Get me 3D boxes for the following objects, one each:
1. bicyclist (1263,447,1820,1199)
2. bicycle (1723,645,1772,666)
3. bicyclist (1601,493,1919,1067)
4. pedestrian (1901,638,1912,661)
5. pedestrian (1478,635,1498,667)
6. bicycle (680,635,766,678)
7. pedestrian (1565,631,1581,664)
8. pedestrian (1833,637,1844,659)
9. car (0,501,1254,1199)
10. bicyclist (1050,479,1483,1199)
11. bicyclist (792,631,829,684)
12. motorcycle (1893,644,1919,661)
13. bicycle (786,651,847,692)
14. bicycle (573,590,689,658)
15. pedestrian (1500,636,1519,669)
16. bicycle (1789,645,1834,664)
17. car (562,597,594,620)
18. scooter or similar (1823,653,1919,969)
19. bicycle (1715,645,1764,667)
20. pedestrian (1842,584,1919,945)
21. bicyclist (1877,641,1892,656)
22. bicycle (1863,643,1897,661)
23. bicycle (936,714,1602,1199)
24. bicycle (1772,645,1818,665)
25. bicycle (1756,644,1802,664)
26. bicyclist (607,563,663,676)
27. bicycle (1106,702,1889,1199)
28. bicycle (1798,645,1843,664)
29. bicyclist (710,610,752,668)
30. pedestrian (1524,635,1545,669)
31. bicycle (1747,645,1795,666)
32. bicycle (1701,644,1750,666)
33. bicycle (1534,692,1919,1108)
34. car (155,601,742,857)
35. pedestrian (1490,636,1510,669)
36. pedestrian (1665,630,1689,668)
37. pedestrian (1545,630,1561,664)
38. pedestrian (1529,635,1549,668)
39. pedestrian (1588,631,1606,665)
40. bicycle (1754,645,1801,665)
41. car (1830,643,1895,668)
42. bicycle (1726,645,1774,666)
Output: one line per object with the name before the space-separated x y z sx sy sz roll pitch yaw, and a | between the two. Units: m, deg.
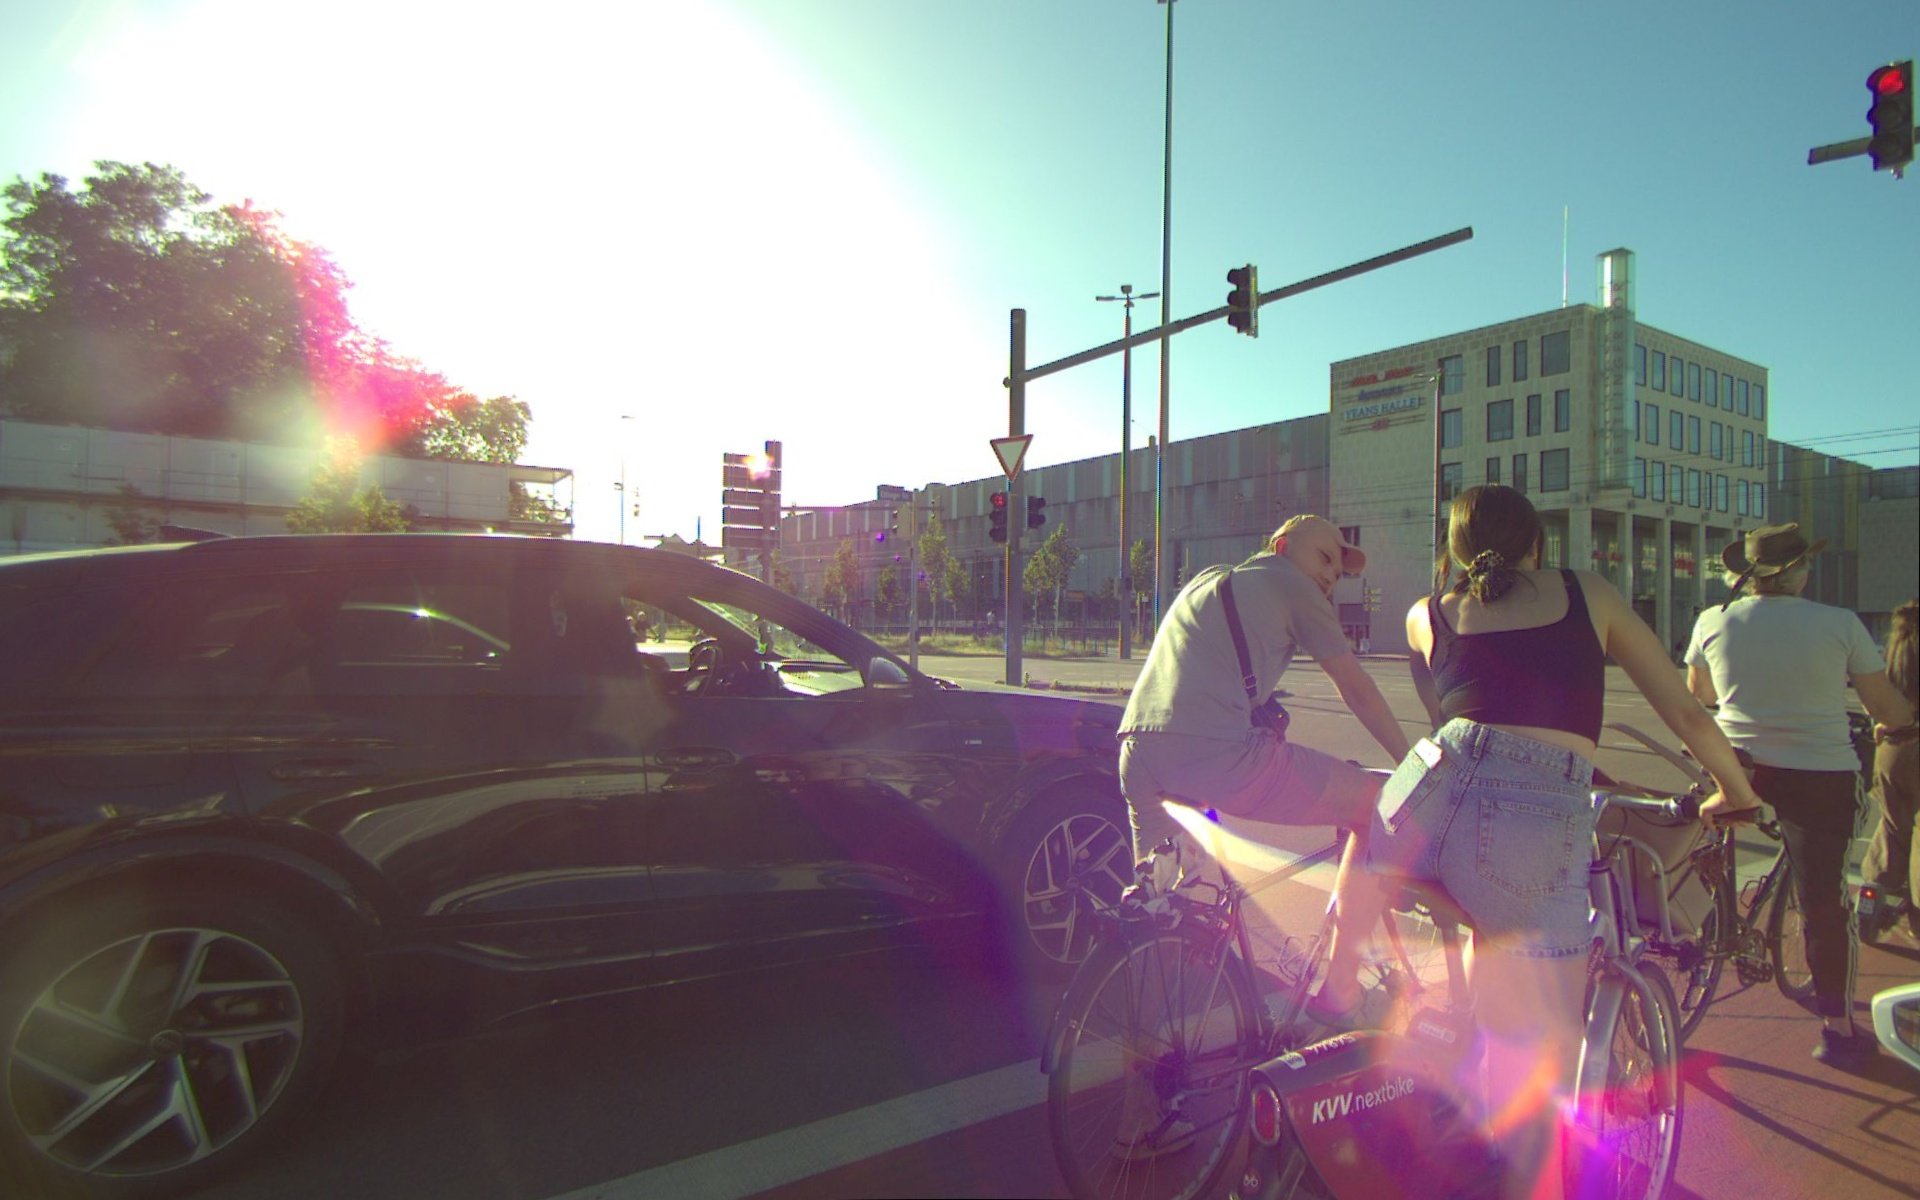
bicyclist | 1.178 0.569 2.056 0.866 1.600 0.638 1 0 -33
bicycle | 48.047 3.374 61.338 0.605 1.238 2.295 1 -1 -31
bicyclist | 2.866 0.556 3.556 0.856 1.743 0.657 2 0 -30
pedestrian | 71.098 3.682 75.454 0.579 1.702 0.516 1 1 -43
pedestrian | 32.326 3.118 61.519 0.710 1.910 0.779 2 0 -36
bicycle | -8.617 2.027 36.456 2.905 1.388 0.970 2 0 16
pedestrian | 35.630 2.738 58.425 0.784 1.868 0.862 0 -1 32
pedestrian | 70.488 3.850 80.564 0.602 1.702 0.549 1 0 -40
car | -1.157 0.632 3.874 4.630 1.656 1.760 1 0 -32
bicyclist | 0.800 0.559 2.677 0.833 1.627 0.712 1 0 -32
bicyclist | -5.943 2.259 39.844 0.985 2.040 1.088 2 0 -40
motorcycle | 70.740 3.918 74.854 0.508 1.223 1.786 1 0 -44
bicycle | -5.679 2.794 39.514 0.962 1.388 2.930 2 0 -40
bicycle | -9.322 0.653 28.550 3.047 1.835 0.835 0 1 -32
pedestrian | 33.224 3.174 60.691 0.780 1.910 0.709 2 0 -37
bicycle | 58.853 3.744 69.428 0.605 1.238 2.295 1 -1 -31
car | -32.935 0.733 86.518 1.785 1.908 3.964 2 0 -33
scooter or similar | 4.489 0.926 4.717 1.186 1.311 0.541 2 0 -45
bicycle | 46.964 3.337 60.528 0.605 1.238 2.295 1 -1 -31
pedestrian | 4.630 0.762 4.810 0.568 1.654 0.543 2 0 -45
bicyclist | 67.390 3.539 73.240 0.612 1.099 0.512 1 0 9
bicycle | 67.130 3.765 73.294 1.774 1.223 0.512 1 0 10
bicycle | 0.937 0.953 2.774 1.949 1.124 0.643 1 0 -33
bicycle | 55.520 3.629 66.829 0.605 1.238 2.295 1 -1 -31
bicycle | 54.281 3.590 66.566 0.605 1.238 2.295 1 -1 -31
bicyclist | -9.253 0.545 28.585 1.292 3.144 0.835 2 0 -32
bicycle | 1.192 0.891 2.069 1.811 1.234 0.612 1 0 -33
bicycle | 59.824 3.776 69.852 0.605 1.238 2.295 1 -1 -31
bicyclist | -8.272 1.401 36.292 1.078 2.040 0.961 2 0 16
pedestrian | 33.397 3.015 58.378 0.710 1.910 0.779 2 0 -36
bicycle | 51.277 3.484 63.551 0.605 1.238 2.295 1 -1 -31
bicycle | 45.762 3.298 60.084 0.605 1.238 2.295 1 -1 -31
bicycle | 2.876 0.961 3.683 1.810 1.171 0.482 2 0 -31
car | -3.588 0.790 7.500 3.562 1.505 1.485 1 0 -30
pedestrian | 32.162 3.137 59.869 0.710 1.910 0.779 2 0 -36
pedestrian | 39.683 2.685 55.562 0.767 2.040 0.876 2 0 -41
pedestrian | 34.318 2.705 58.105 0.705 1.910 0.785 2 0 33
pedestrian | 34.407 3.053 59.690 0.710 1.910 0.779 2 0 -36
pedestrian | 35.872 2.702 56.584 0.784 1.868 0.863 0 -1 28
bicycle | 52.902 3.541 65.018 0.605 1.238 2.295 1 -1 -31
car | 49.783 3.072 55.410 3.956 1.359 1.621 2 -4 -32
bicycle | 48.697 3.397 61.959 0.605 1.238 2.295 1 -1 -31
